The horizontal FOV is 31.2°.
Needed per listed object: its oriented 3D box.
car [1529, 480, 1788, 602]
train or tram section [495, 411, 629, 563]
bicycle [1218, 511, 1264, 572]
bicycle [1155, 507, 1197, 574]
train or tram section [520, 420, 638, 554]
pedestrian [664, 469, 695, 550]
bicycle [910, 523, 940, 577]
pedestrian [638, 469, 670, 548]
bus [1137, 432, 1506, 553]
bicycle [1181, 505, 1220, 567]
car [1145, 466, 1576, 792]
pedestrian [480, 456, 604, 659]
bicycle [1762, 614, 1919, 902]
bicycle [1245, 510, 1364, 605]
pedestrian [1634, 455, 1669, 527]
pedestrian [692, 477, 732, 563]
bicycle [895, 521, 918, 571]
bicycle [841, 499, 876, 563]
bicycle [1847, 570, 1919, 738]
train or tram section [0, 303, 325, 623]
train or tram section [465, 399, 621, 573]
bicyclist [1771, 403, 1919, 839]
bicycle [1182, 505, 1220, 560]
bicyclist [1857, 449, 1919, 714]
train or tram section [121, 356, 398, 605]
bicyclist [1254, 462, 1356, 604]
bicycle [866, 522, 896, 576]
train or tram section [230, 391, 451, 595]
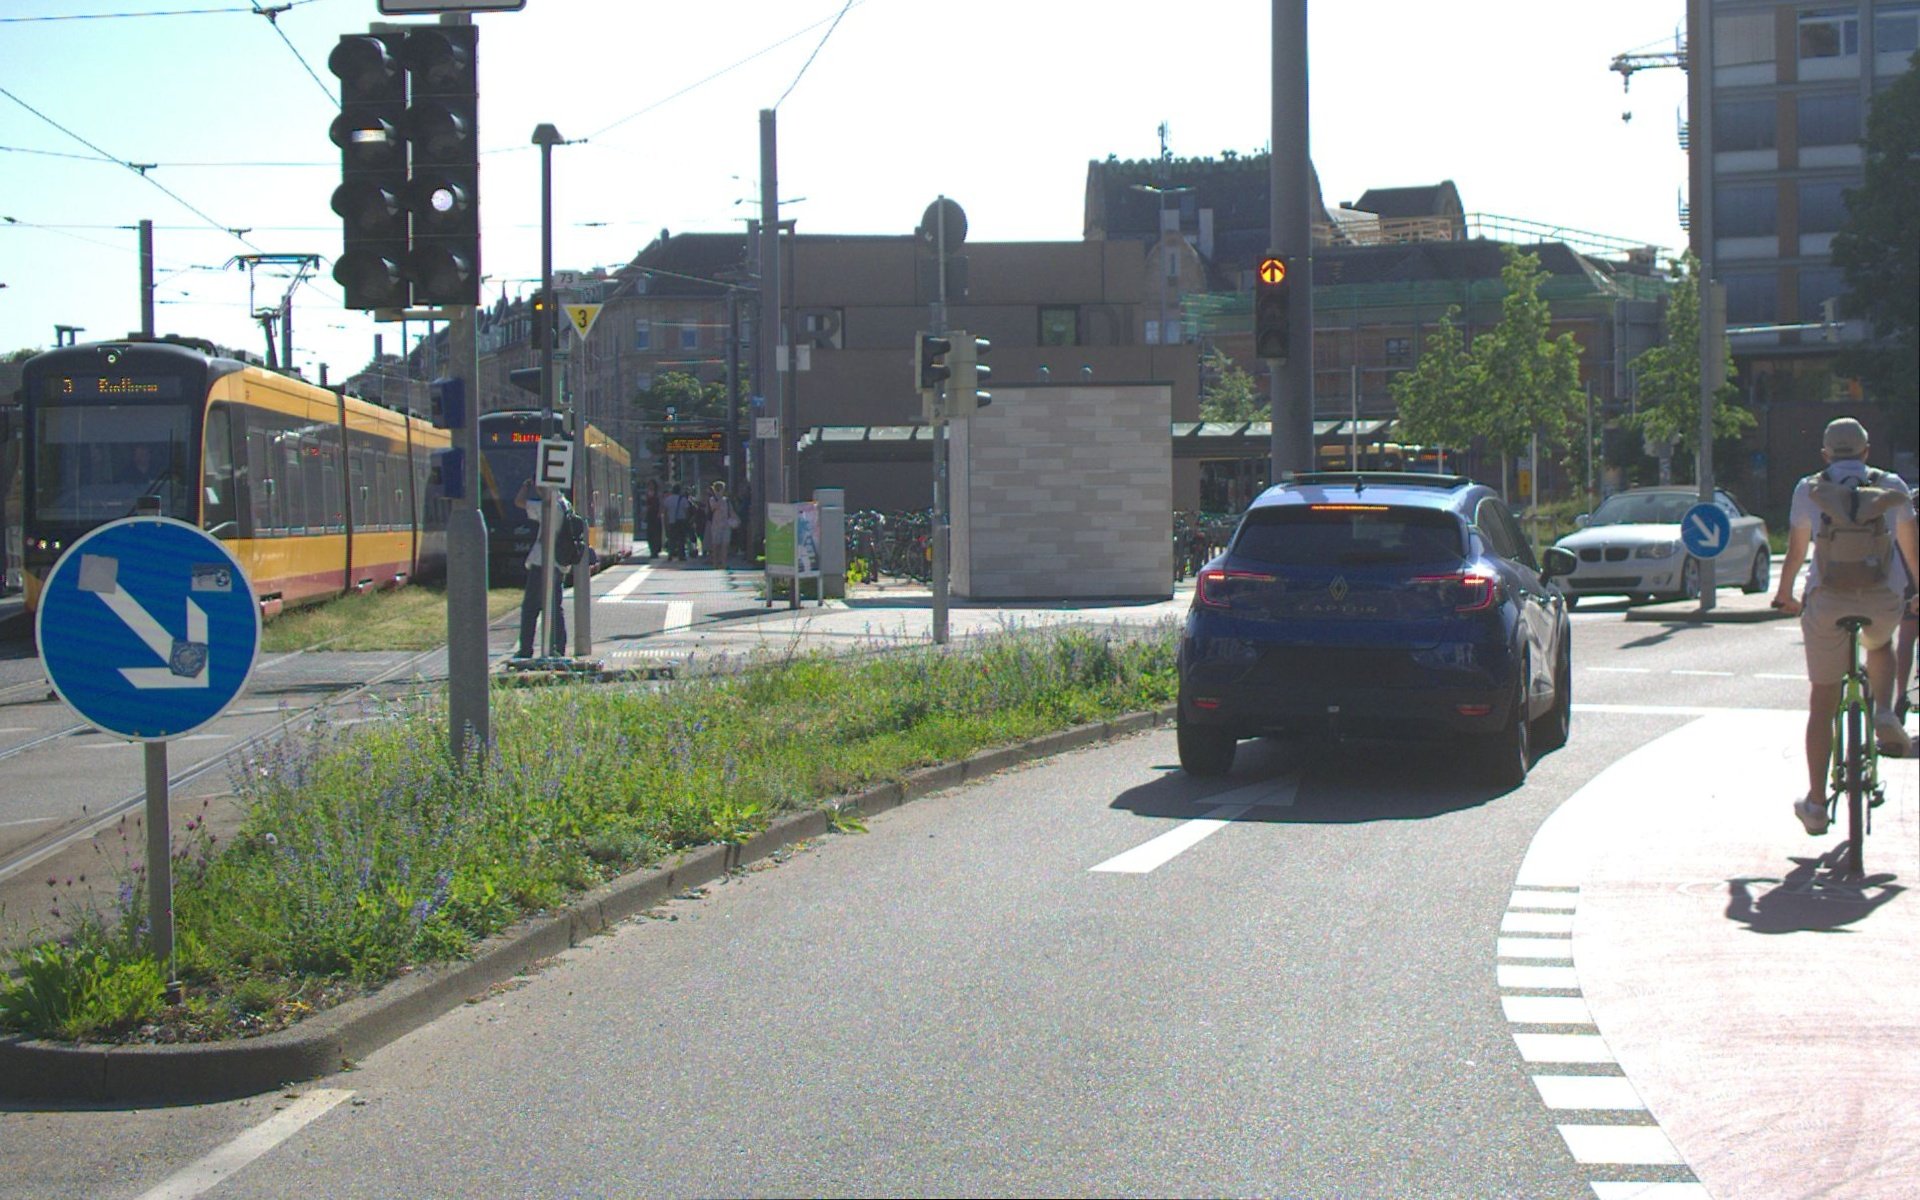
[{"bbox_3d":[8.504,-0.742,41.631,1.803,1.388,4.086,0,2,31],"label":"car"},{"bbox_3d":[-9.685,-2.763,84.629,2.870,3.495,10.545,0,2,-4],"label":"train or tram section"},{"bbox_3d":[4.531,-0.940,55.509,0.580,0.958,2.058,1,1,1],"label":"bicycle"},{"bbox_3d":[3.465,-0.948,55.315,0.580,1.054,1.816,1,1,1],"label":"bicycle"},{"bbox_3d":[-10.458,-3.131,95.145,2.870,3.495,10.546,0,2,-4],"label":"train or tram section"},{"bbox_3d":[-6.477,-2.073,79.294,0.632,1.850,0.703,0,1,-9],"label":"pedestrian"},{"bbox_3d":[-0.626,-0.902,61.421,0.421,0.934,1.306,1,2,-5],"label":"bicycle"},{"bbox_3d":[-7.399,-2.207,83.143,0.740,1.911,0.742,1,1,-4],"label":"pedestrian"},{"bbox_3d":[10.609,-3.165,102.989,2.874,3.384,12.442,0,1,-40],"label":"bus"},{"bbox_3d":[4.285,-1.134,61.294,0.580,1.084,2.058,1,1,1],"label":"bicycle"},{"bbox_3d":[2.310,0.077,19.017,1.824,1.594,3.656,1,2,15],"label":"car"},{"bbox_3d":[-3.831,-0.390,31.460,1.016,1.826,0.761,0,1,-14],"label":"pedestrian"},{"bbox_3d":[3.724,0.615,14.254,0.663,1.043,1.889,0,2,16],"label":"bicycle"},{"bbox_3d":[4.060,-0.506,40.359,0.774,1.077,2.033,-1,1,24],"label":"bicycle"},{"bbox_3d":[17.824,-2.800,88.581,0.725,1.850,0.703,1,1,-1],"label":"pedestrian"},{"bbox_3d":[-5.494,-1.758,76.042,0.847,1.877,0.761,1,1,-6],"label":"pedestrian"},{"bbox_3d":[-1.037,-1.047,66.251,0.421,0.934,1.379,1,2,-2],"label":"bicycle"},{"bbox_3d":[-1.754,-1.184,59.528,0.566,1.090,2.029,1,1,-1],"label":"bicycle"},{"bbox_3d":[6.117,0.321,21.645,0.723,0.956,1.881,1,2,24],"label":"bicycle"},{"bbox_3d":[-9.952,-1.670,43.155,2.817,3.495,10.482,-1,2,-5],"label":"train or tram section"},{"bbox_3d":[-8.869,-2.439,74.177,2.870,3.495,10.545,0,2,-4],"label":"train or tram section"},{"bbox_3d":[3.736,0.069,14.267,0.664,1.741,1.005,0,2,16],"label":"bicyclist"},{"bbox_3d":[4.820,-1.351,68.783,0.580,1.084,1.872,1,1,-1],"label":"bicycle"},{"bbox_3d":[6.096,-0.130,21.565,0.722,1.620,1.054,1,2,24],"label":"bicyclist"},{"bbox_3d":[-10.728,-1.837,53.710,2.816,3.495,10.613,0,2,-4],"label":"train or tram section"},{"bbox_3d":[4.058,-0.789,40.403,0.881,1.639,1.059,-1,1,24],"label":"bicyclist"},{"bbox_3d":[-1.411,-0.907,61.221,0.421,0.934,1.306,1,2,-5],"label":"bicycle"},{"bbox_3d":[-11.452,-2.001,64.566,2.816,3.495,11.213,0,2,-4],"label":"train or tram section"}]
